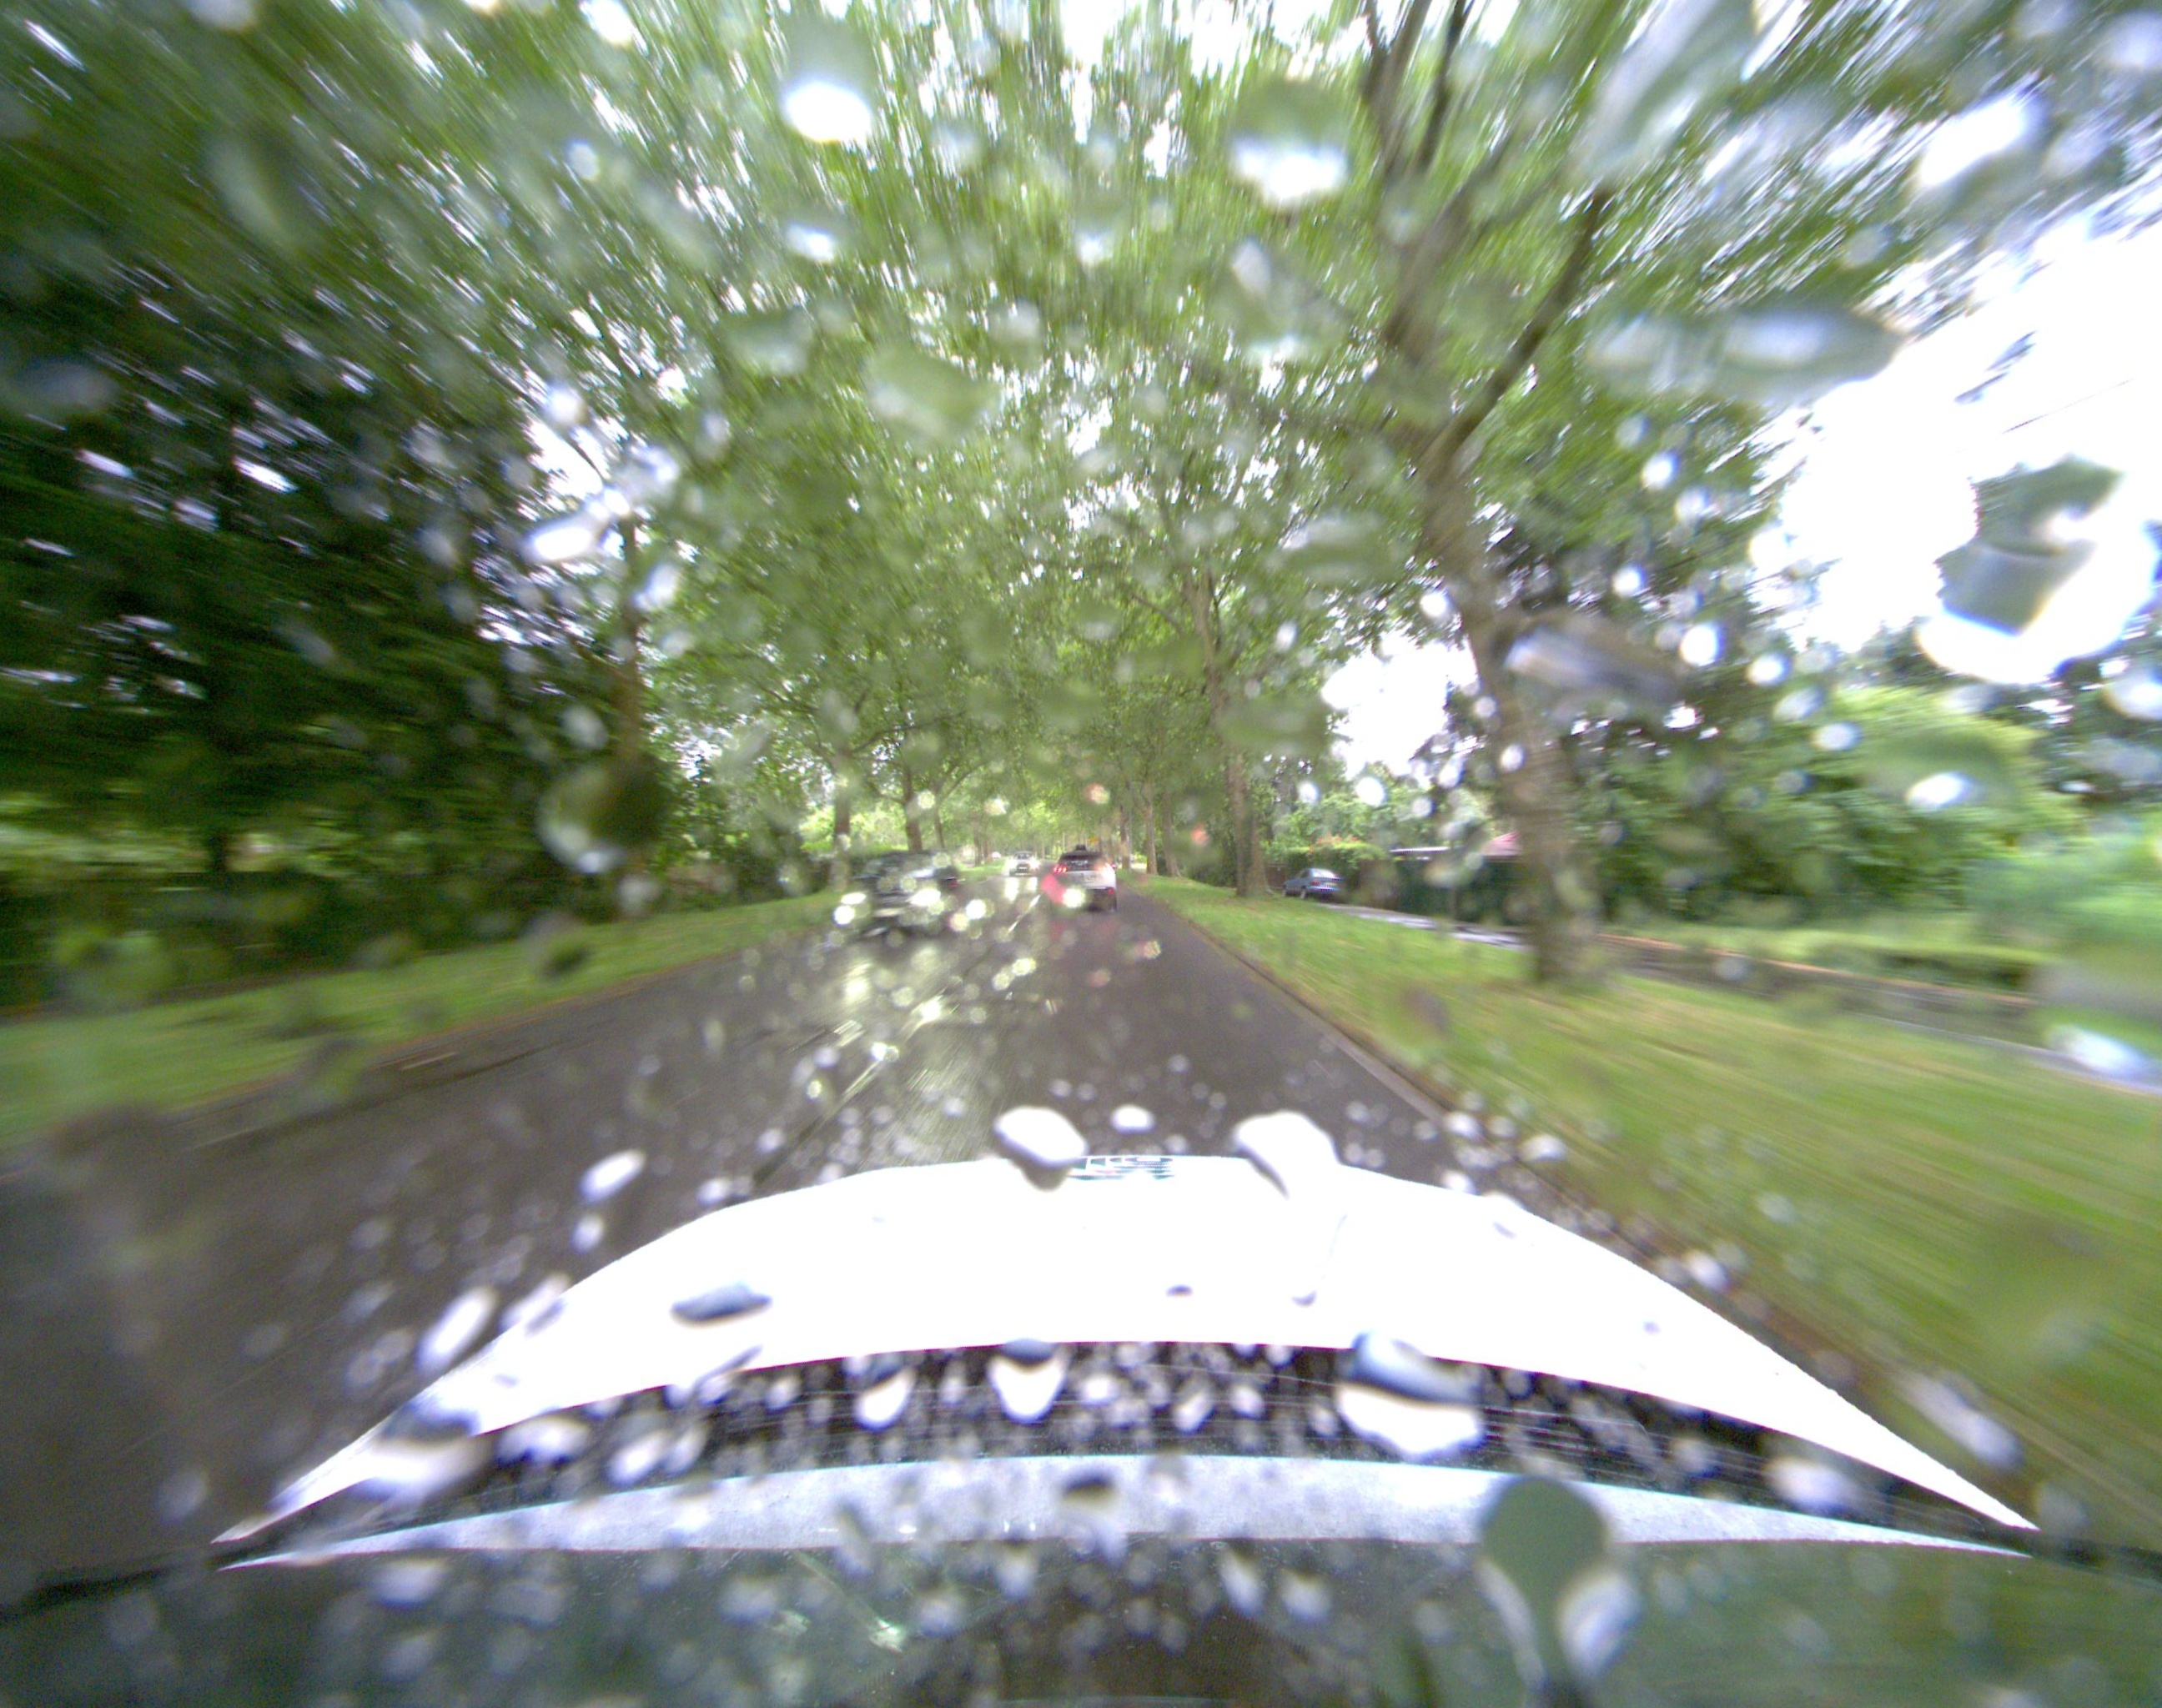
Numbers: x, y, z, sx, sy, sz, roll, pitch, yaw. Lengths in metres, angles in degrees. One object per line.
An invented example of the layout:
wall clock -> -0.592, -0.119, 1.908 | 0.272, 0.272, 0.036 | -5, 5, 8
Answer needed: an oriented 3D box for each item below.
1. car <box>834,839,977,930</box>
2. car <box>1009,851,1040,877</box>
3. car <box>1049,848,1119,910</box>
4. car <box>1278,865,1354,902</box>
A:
car -> -3.508, 0.565, 17.247 | 1.811, 1.654, 4.776 | 0, 0, 2
car -> -3.855, 0.672, 56.127 | 1.803, 1.728, 4.454 | 0, 0, 0
car -> 0.144, 0.626, 22.662 | 1.787, 1.578, 3.846 | 0, 0, 2
car -> 9.933, 1.227, 34.766 | 1.792, 1.325, 3.994 | 4, -1, -4
